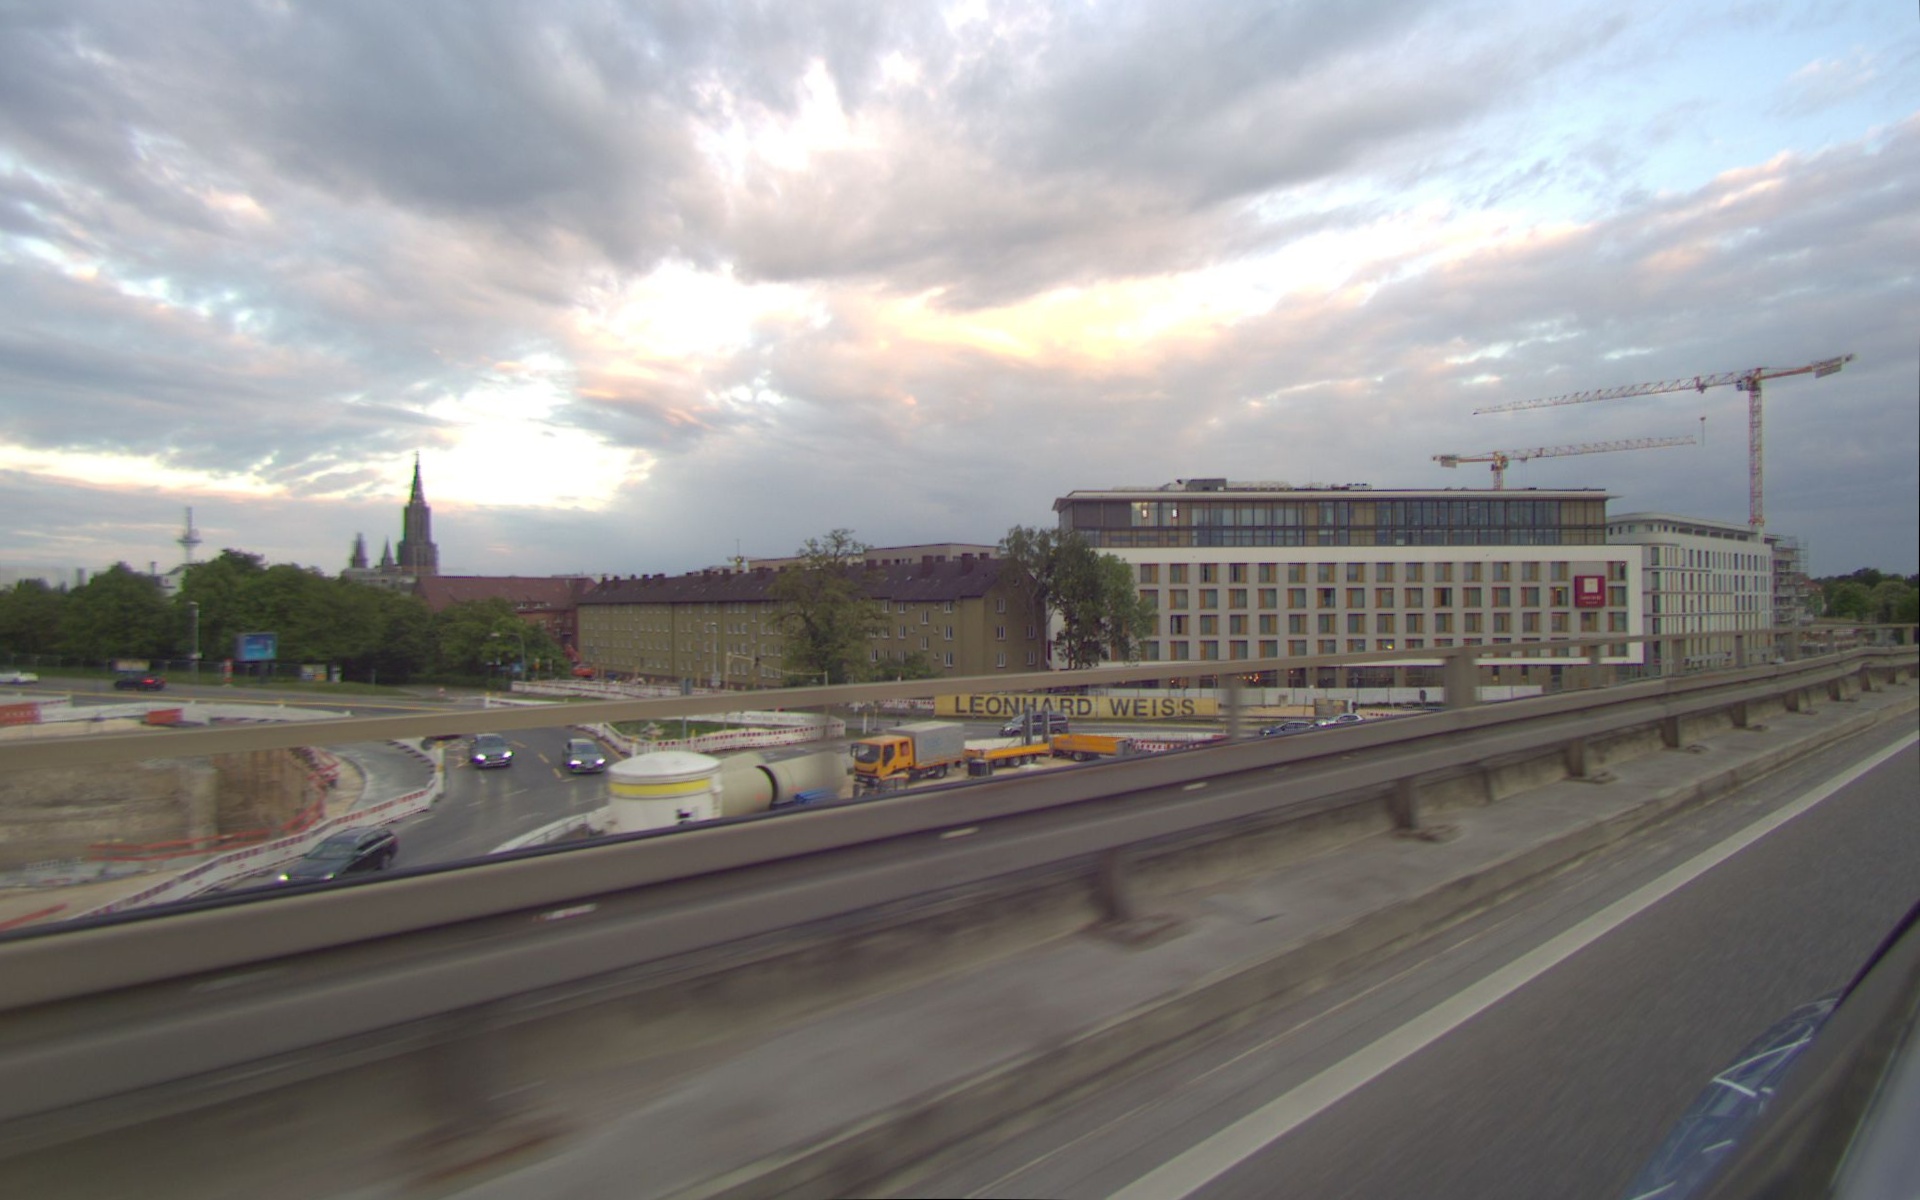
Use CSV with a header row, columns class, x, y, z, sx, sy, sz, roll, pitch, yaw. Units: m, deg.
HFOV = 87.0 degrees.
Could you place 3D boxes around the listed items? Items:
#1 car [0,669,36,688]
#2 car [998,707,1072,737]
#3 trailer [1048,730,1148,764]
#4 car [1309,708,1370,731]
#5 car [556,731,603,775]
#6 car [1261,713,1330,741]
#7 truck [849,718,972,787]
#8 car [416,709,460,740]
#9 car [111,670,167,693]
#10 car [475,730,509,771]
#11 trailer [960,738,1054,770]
class,x,y,z,sx,sy,sz,roll,pitch,yaw
car,-93.157,7.716,99.439,3.647,1.762,1.588,0,-4,12
car,5.375,8.800,73.027,4.991,1.903,2.000,2,-3,-4
trailer,8.450,8.997,62.292,5.825,1.365,2.005,0,0,31
car,29.134,9.198,77.723,3.925,1.460,1.912,1,-1,1
car,-21.567,8.619,57.299,1.768,1.741,4.105,-3,1,-30
car,23.848,9.018,72.127,4.526,1.640,1.991,1,-2,14
truck,-2.622,8.321,55.896,2.157,2.987,7.219,-4,-4,44
car,-35.279,8.406,68.375,1.622,1.639,3.757,0,-1,-44
car,-77.485,7.716,95.563,3.937,2.040,1.992,0,-5,12
car,-26.784,8.573,57.896,1.612,1.761,3.799,-1,-1,-27
trailer,2.843,9.165,60.495,5.769,1.366,1.996,1,-7,-41
